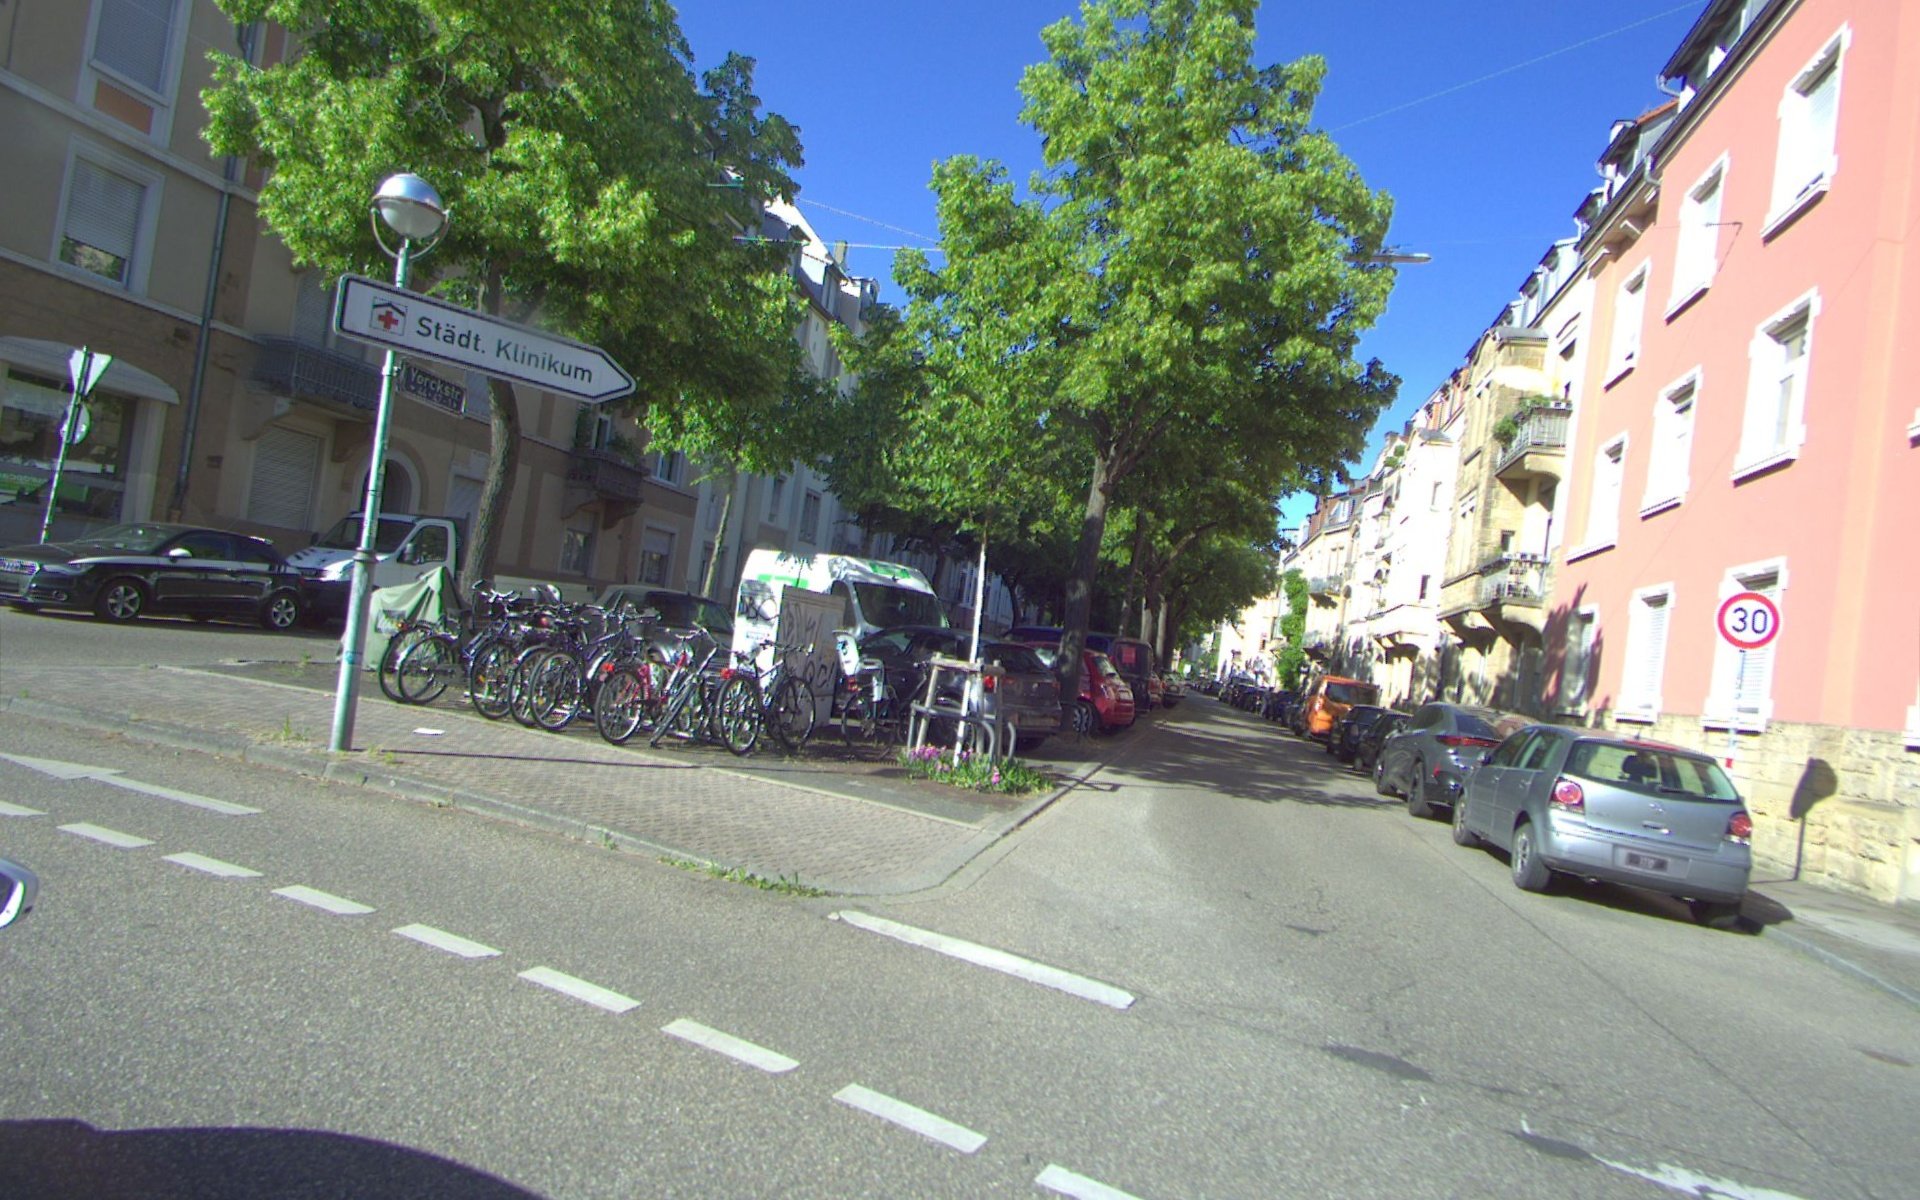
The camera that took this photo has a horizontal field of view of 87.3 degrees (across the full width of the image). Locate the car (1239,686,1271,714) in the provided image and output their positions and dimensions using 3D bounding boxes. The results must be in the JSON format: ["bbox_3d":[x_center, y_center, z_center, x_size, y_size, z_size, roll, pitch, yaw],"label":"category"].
[{"bbox_3d":[19.133,6.472,65.372,1.656,1.474,3.501,9,-2,15],"label":"car"}]

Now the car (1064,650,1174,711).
[{"bbox_3d":[5.404,2.730,34.453,1.675,1.486,3.350,10,-2,-37],"label":"car"}]

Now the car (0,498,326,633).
[{"bbox_3d":[-11.322,-0.399,14.181,1.656,1.406,3.928,7,-2,11],"label":"car"}]

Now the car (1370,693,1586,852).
[{"bbox_3d":[7.206,2.303,14.480,1.656,1.580,4.301,9,-2,15],"label":"car"}]

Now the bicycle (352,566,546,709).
[{"bbox_3d":[-4.876,0.387,9.745,0.528,1.206,1.681,9,-1,16],"label":"bicycle"}]

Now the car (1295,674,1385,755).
[{"bbox_3d":[11.830,3.521,31.615,1.905,2.067,4.281,9,-2,15],"label":"car"}]

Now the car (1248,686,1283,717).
[{"bbox_3d":[18.211,6.047,60.085,1.656,1.474,3.501,9,-2,15],"label":"car"}]

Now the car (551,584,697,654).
[{"bbox_3d":[-8.426,0.539,25.620,1.656,1.406,3.928,7,-2,11],"label":"car"}]

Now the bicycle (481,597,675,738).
[{"bbox_3d":[-3.480,0.625,9.345,0.645,1.101,1.731,9,-1,16],"label":"bicycle"}]

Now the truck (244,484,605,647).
[{"bbox_3d":[-10.047,-0.448,19.867,2.099,2.318,6.629,7,-2,16],"label":"truck"}]

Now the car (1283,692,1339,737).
[{"bbox_3d":[14.095,4.578,40.591,1.656,1.397,3.501,9,-2,15],"label":"car"}]

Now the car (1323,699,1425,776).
[{"bbox_3d":[9.944,3.258,24.369,1.656,1.397,3.286,9,-2,15],"label":"car"}]

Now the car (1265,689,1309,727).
[{"bbox_3d":[15.824,5.213,48.813,1.656,1.474,3.501,9,-2,15],"label":"car"}]

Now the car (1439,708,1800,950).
[{"bbox_3d":[5.964,1.955,9.624,1.656,1.463,3.551,9,-2,15],"label":"car"}]

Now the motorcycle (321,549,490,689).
[{"bbox_3d":[-6.175,0.209,11.194,1.680,1.285,0.538,9,0,20],"label":"motorcycle"}]

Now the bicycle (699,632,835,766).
[{"bbox_3d":[-1.762,0.902,9.422,0.411,1.098,1.528,9,-1,18],"label":"bicycle"}]

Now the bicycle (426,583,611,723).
[{"bbox_3d":[-4.135,0.509,9.565,0.578,1.140,1.604,9,-1,16],"label":"bicycle"}]

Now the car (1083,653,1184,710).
[{"bbox_3d":[6.428,3.015,37.527,1.675,1.486,3.350,10,-2,-37],"label":"car"}]

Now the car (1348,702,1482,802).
[{"bbox_3d":[8.690,2.848,19.484,1.656,1.397,3.286,9,-2,15],"label":"car"}]

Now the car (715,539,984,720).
[{"bbox_3d":[-2.378,0.373,19.225,2.086,2.630,6.317,10,-2,-34],"label":"car"}]

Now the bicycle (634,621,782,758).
[{"bbox_3d":[-2.277,0.812,9.287,0.411,1.102,1.575,9,-1,18],"label":"bicycle"}]

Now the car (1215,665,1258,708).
[{"bbox_3d":[21.241,6.613,77.493,2.385,2.878,4.872,9,-2,11],"label":"car"}]

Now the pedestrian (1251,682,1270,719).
[{"bbox_3d":[14.627,4.896,49.015,0.638,1.680,0.651,9,-1,15],"label":"pedestrian"}]

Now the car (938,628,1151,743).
[{"bbox_3d":[1.535,1.538,18.375,3.326,1.463,1.687,9,-2,29],"label":"car"}]

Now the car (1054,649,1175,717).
[{"bbox_3d":[4.773,2.563,31.332,1.675,1.486,3.350,10,-2,-37],"label":"car"}]

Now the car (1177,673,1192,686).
[{"bbox_3d":[34.026,12.045,152.756,1.906,1.527,4.006,9,-2,11],"label":"car"}]

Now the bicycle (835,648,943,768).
[{"bbox_3d":[-0.702,1.090,10.423,0.411,1.098,1.528,9,-1,18],"label":"bicycle"}]

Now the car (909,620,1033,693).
[{"bbox_3d":[0.323,1.774,31.841,3.446,1.684,1.683,8,-2,41],"label":"car"}]

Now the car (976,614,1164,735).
[{"bbox_3d":[2.227,1.509,20.840,3.339,1.886,1.681,8,-2,45],"label":"car"}]

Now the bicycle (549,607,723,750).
[{"bbox_3d":[-2.878,0.706,9.124,0.491,1.115,1.651,9,-1,18],"label":"bicycle"}]

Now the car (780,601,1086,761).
[{"bbox_3d":[-0.459,1.050,13.649,3.865,1.463,1.683,8,-2,40],"label":"car"}]

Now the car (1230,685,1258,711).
[{"bbox_3d":[19.849,6.857,70.417,1.656,1.474,3.501,9,-2,15],"label":"car"}]
